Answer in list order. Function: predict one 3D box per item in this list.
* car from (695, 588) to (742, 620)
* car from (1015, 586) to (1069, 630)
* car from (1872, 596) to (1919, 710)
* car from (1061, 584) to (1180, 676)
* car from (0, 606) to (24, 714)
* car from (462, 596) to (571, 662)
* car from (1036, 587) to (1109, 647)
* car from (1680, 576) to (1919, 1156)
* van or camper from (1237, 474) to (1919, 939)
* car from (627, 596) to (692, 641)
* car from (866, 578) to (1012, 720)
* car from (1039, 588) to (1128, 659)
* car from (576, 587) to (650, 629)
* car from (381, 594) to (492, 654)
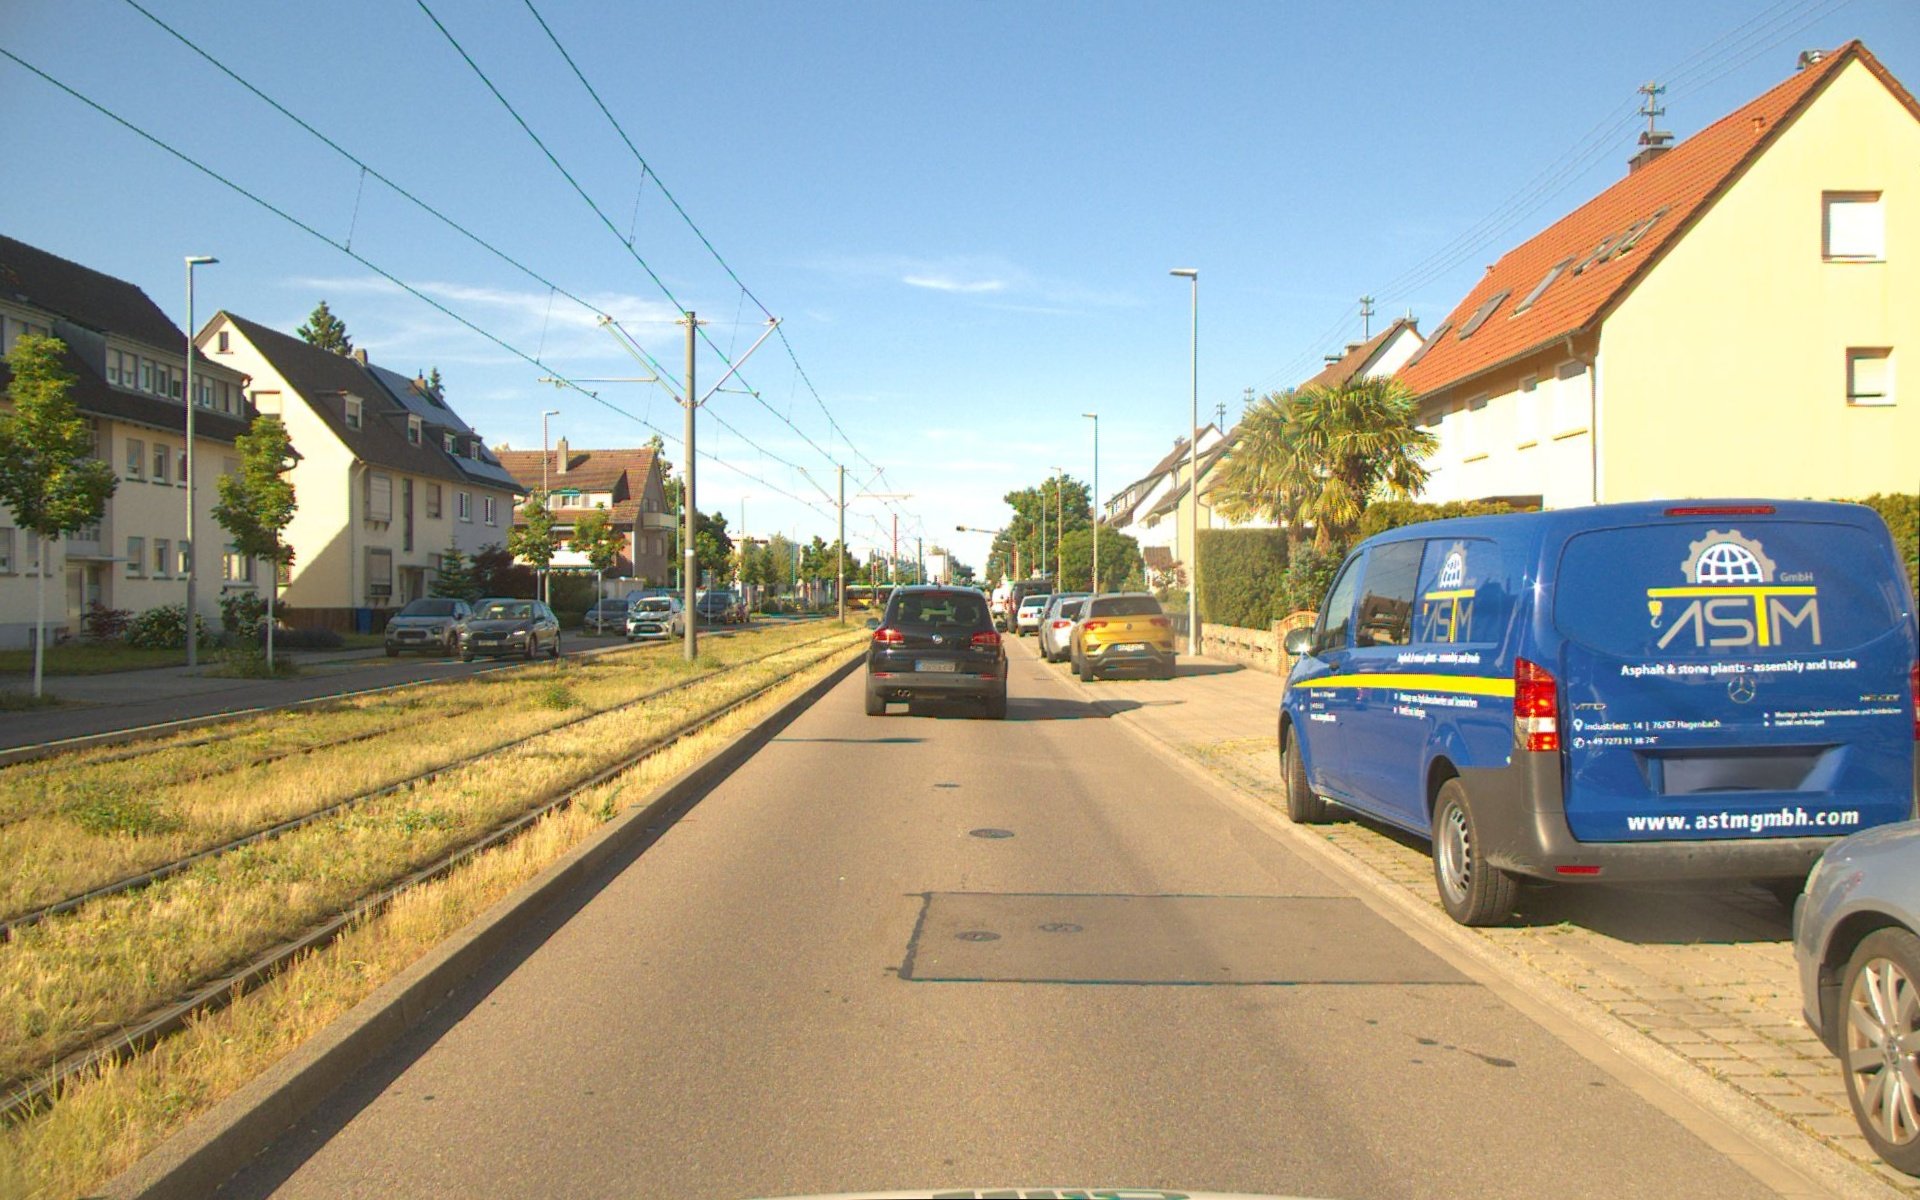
[{"bbox_3d":[-13.347,0.208,91.766,1.782,1.714,4.846,1,0,1],"label":"car"},{"bbox_3d":[3.013,0.256,61.607,1.814,1.469,5.615,-2,0,2],"label":"car"},{"bbox_3d":[14.032,0.673,21.154,3.806,1.446,1.812,0,0,-4],"label":"car"},{"bbox_3d":[3.010,0.537,31.949,1.768,1.586,4.926,-1,0,0],"label":"car"},{"bbox_3d":[-13.841,0.823,21.031,1.624,1.461,4.102,0,0,-1],"label":"car"},{"bbox_3d":[-10.887,0.686,40.869,1.654,1.501,4.082,1,0,-1],"label":"car"},{"bbox_3d":[2.999,0.411,44.788,1.741,1.525,4.729,-1,0,1],"label":"car"},{"bbox_3d":[3.398,0.677,2.849,1.696,1.484,5.281,-1,0,-4],"label":"car"},{"bbox_3d":[3.128,0.434,9.650,1.910,1.879,5.581,-1,0,-2],"label":"van or camper"},{"bbox_3d":[-10.524,0.632,58.184,1.654,1.501,3.678,1,0,-1],"label":"car"},{"bbox_3d":[-0.293,0.596,22.127,1.740,1.699,3.999,1,0,-1],"label":"car"},{"bbox_3d":[2.886,0.517,39.418,1.712,1.472,4.698,-1,1,0],"label":"car"},{"bbox_3d":[-13.853,0.321,66.277,1.920,1.567,4.557,1,0,0],"label":"car"},{"bbox_3d":[-13.888,0.605,44.115,1.654,1.498,4.313,1,0,-1],"label":"car"}]
